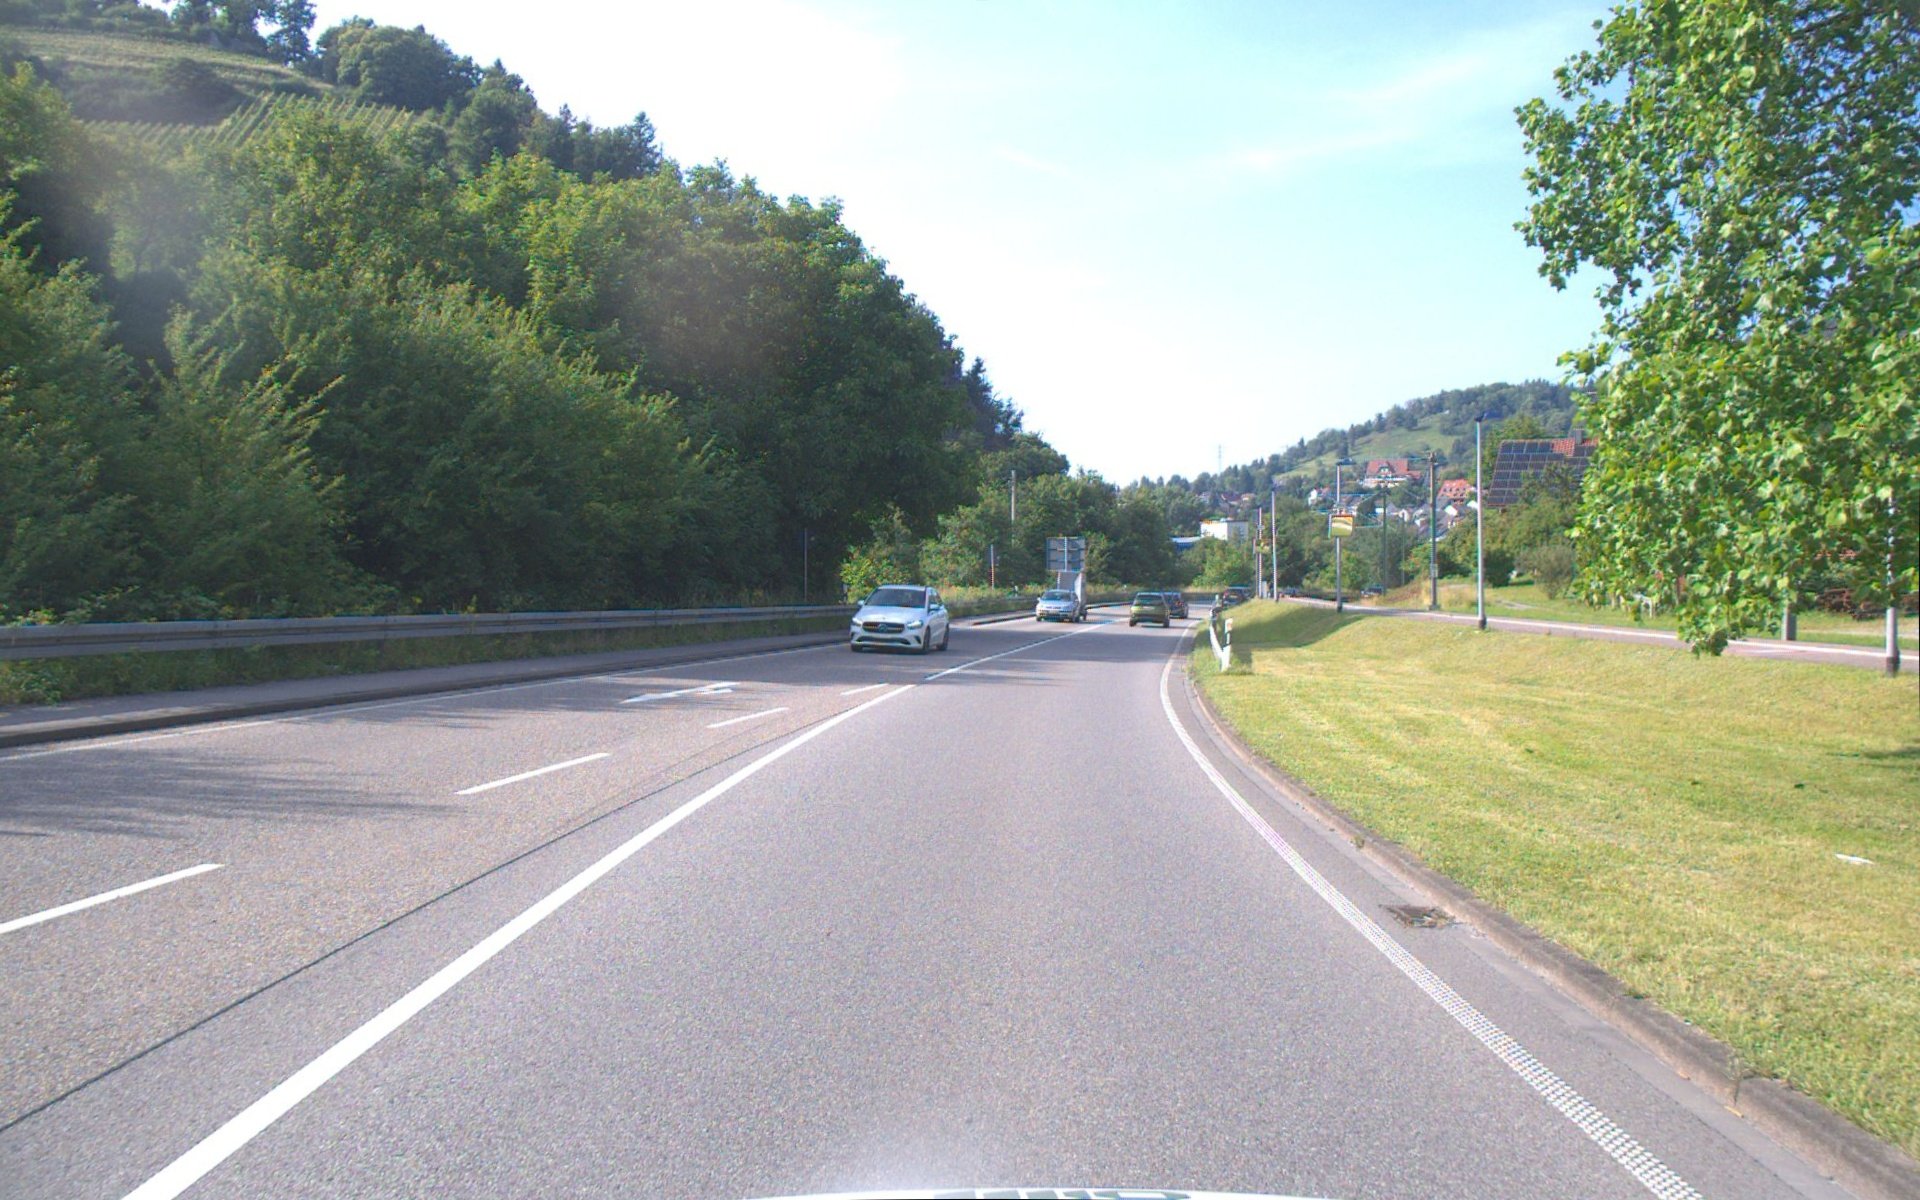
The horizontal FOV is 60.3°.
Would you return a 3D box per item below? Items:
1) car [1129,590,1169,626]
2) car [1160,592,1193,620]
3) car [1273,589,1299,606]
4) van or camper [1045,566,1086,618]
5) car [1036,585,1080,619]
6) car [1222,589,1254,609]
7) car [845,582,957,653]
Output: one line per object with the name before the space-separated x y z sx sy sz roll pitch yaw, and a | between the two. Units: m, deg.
car | 8.365 0.333 73.125 1.692 1.482 3.413 -1 0 6
car | 12.388 0.337 94.593 1.801 1.485 3.716 -1 0 8
car | 29.492 -0.257 149.545 1.770 1.433 3.775 -1 0 18
van or camper | 5.151 -0.403 80.274 1.568 2.369 4.063 2 1 8
car | 4.526 0.062 75.974 1.613 1.461 4.609 2 1 8
car | 21.383 -0.066 127.133 1.769 1.478 3.648 -1 0 21
car | -1.317 0.363 39.054 1.903 1.512 4.589 2 1 7
